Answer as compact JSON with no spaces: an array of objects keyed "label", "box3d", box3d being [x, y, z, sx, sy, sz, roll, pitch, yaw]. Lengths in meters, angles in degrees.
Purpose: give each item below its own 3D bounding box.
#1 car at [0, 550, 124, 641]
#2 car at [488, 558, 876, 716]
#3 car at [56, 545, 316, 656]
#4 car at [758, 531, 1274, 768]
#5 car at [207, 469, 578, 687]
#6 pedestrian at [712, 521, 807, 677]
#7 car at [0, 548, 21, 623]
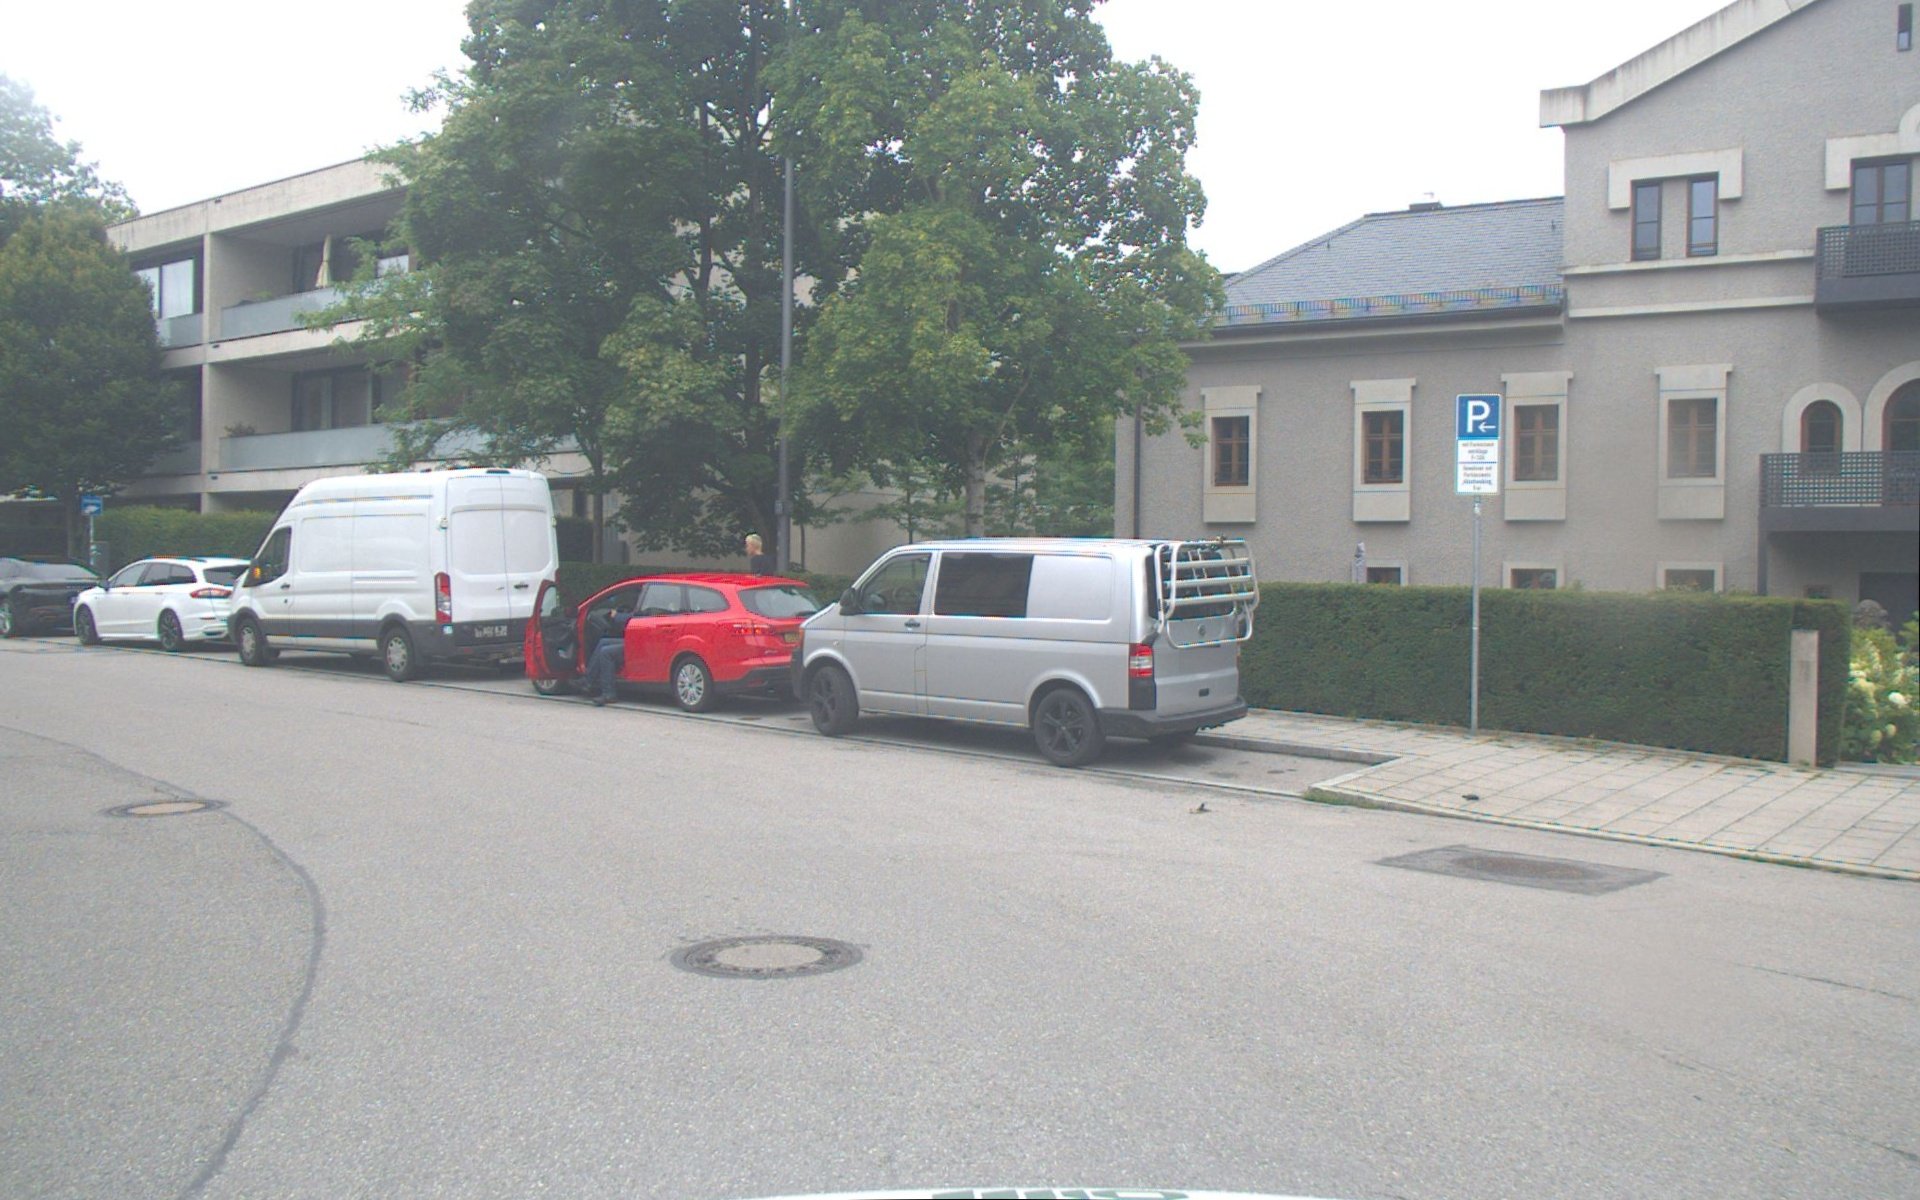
[{"label":"car","box3d":[-17.828,-0.150,31.706,5.110,1.532,1.279,3,4,40]},{"label":"car","box3d":[-3.393,0.337,19.694,4.745,1.532,1.869,2,4,38]},{"label":"car","box3d":[-13.100,-0.065,27.865,4.903,1.596,1.870,3,4,37]},{"label":"car","box3d":[0.415,0.318,16.231,4.980,1.937,1.931,3,4,41]},{"label":"car","box3d":[-8.166,-0.419,23.483,5.972,2.732,2.077,2,4,38]},{"label":"pedestrian","box3d":[-2.550,-0.017,21.030,0.792,1.937,0.851,2,0,-44]},{"label":"car","box3d":[-21.807,-0.334,35.283,4.126,1.555,1.724,2,3,40]}]
